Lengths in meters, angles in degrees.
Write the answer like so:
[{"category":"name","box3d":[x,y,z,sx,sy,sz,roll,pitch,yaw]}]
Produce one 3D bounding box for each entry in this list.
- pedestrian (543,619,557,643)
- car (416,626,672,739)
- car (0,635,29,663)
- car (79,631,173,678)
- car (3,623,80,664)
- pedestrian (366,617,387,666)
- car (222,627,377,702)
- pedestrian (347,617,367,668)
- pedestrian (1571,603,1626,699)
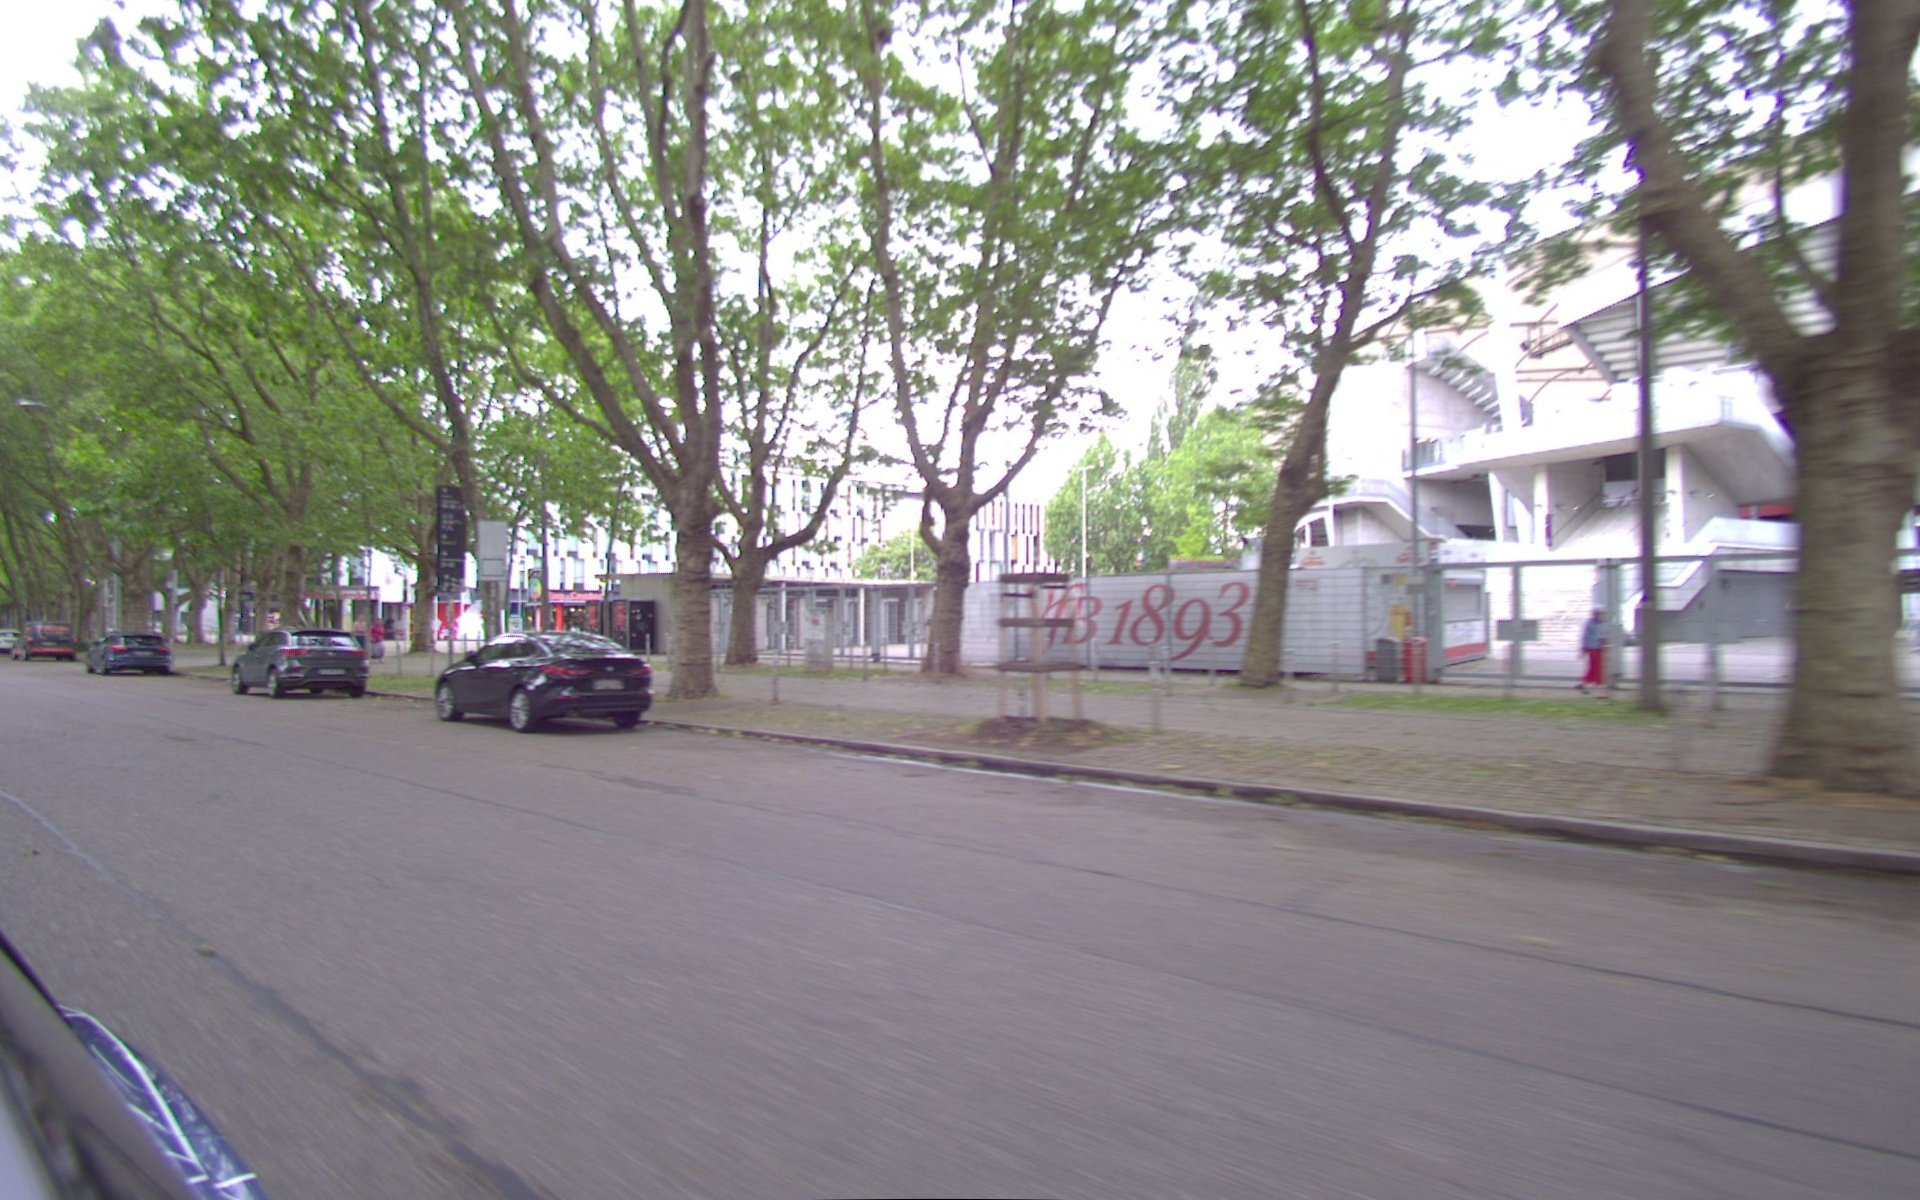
[{"category":"pedestrian","box3d":[-29.678,2.241,73.264,0.808,1.704,0.716,-2,-2,44]},{"category":"car","box3d":[-6.461,1.158,15.455,4.627,1.477,1.807,-2,-3,43]},{"category":"car","box3d":[-52.529,2.636,55.220,4.748,1.413,1.884,-2,-5,40]},{"category":"car","box3d":[-28.487,1.823,34.514,4.571,1.497,1.707,-2,-2,41]},{"category":"car","box3d":[-41.895,1.976,46.132,4.634,1.764,1.929,-1,-3,40]},{"category":"pedestrian","box3d":[-21.181,1.512,36.721,0.567,1.755,0.769,1,-2,-35]},{"category":"car","box3d":[-15.029,1.407,22.955,4.148,1.538,1.858,-2,-3,41]},{"category":"pedestrian","box3d":[-21.617,1.511,36.267,0.569,1.783,0.769,1,-2,-35]},{"category":"pedestrian","box3d":[10.679,0.834,16.917,0.660,1.555,0.660,-2,-2,41]}]
